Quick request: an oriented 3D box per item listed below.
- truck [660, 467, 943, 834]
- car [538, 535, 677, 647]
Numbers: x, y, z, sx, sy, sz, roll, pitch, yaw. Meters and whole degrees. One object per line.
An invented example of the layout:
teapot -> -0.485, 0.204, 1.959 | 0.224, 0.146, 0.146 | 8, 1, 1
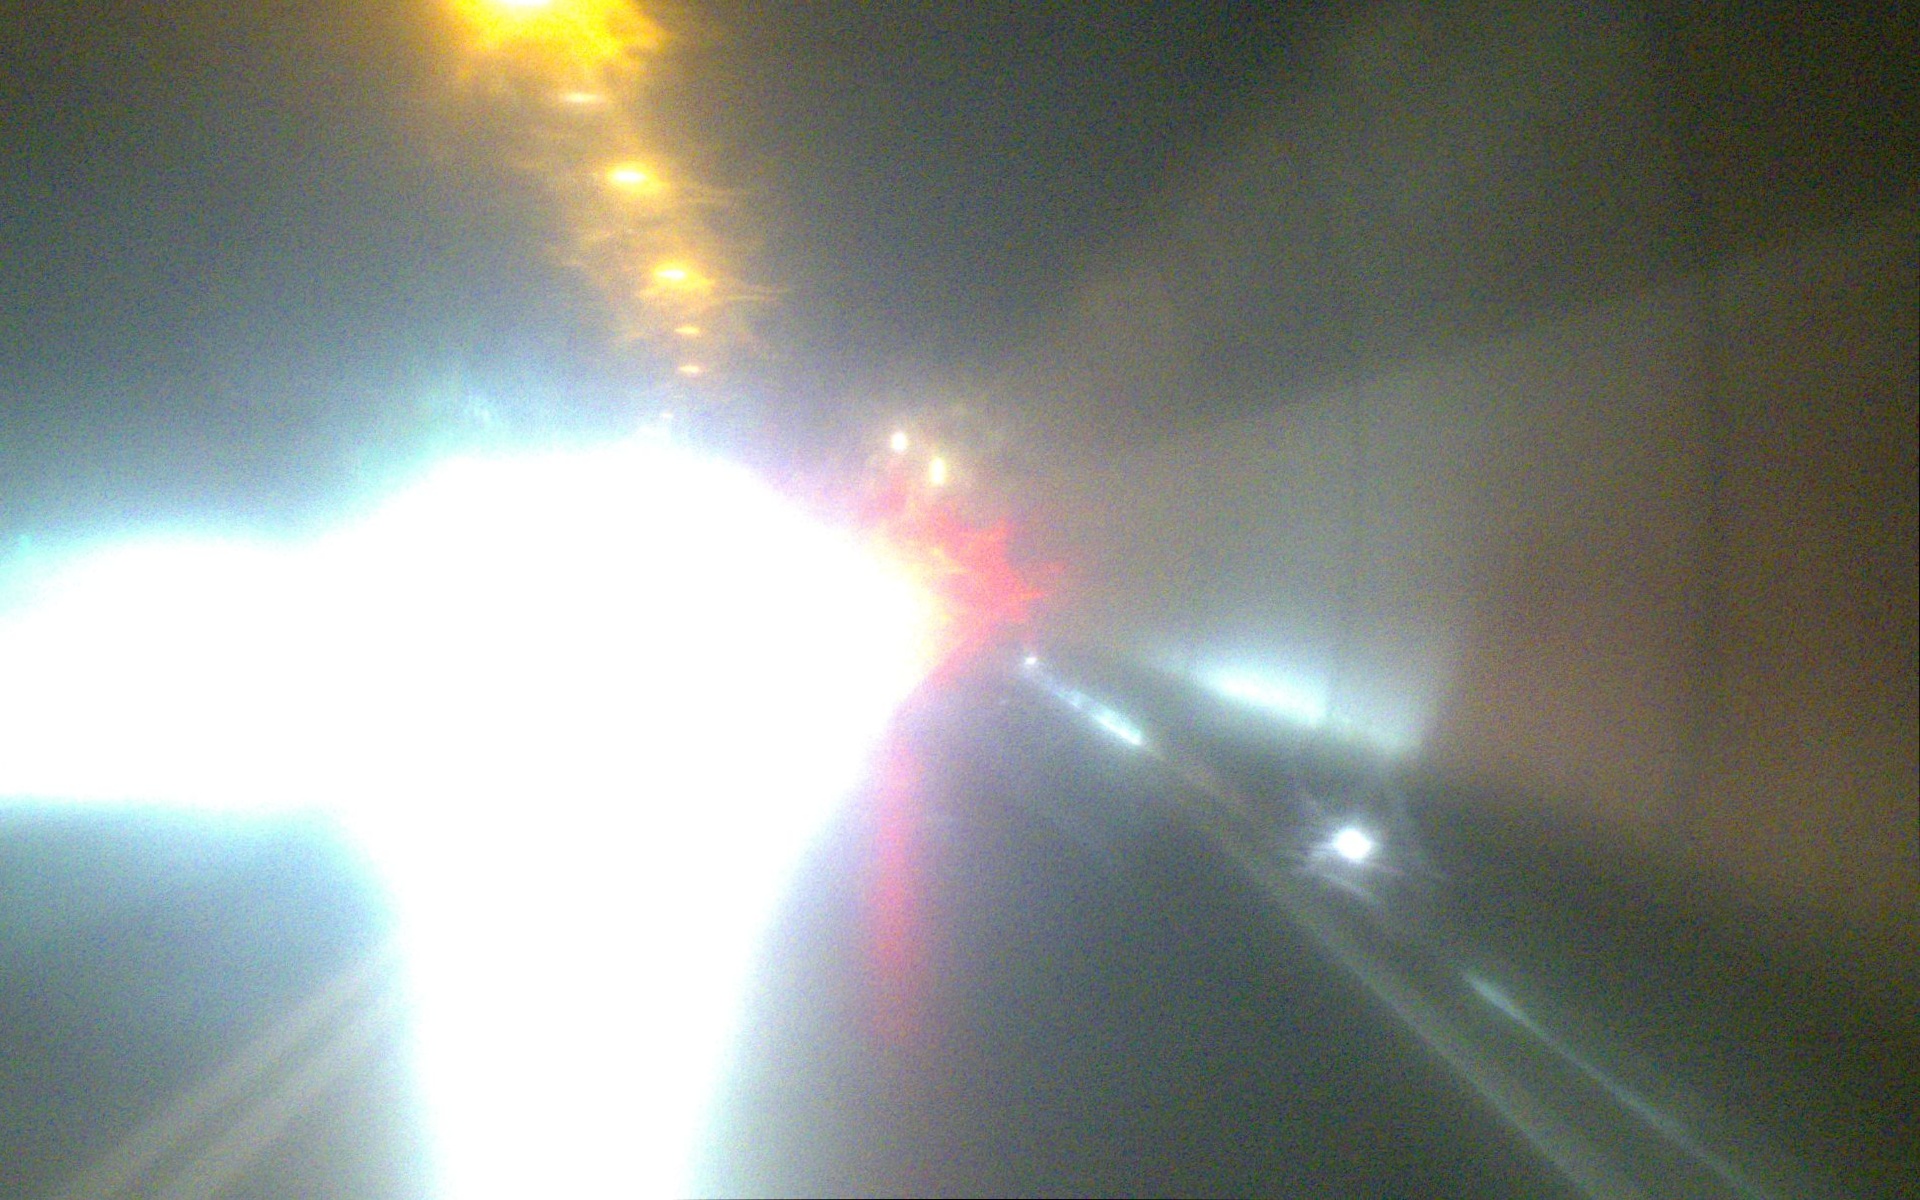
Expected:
truck -> -1.363, 0.378, 32.590 | 2.262, 3.000, 7.415 | 2, 1, 0
car -> -5.020, -0.151, 49.321 | 1.655, 1.488, 3.839 | 2, 1, -2
